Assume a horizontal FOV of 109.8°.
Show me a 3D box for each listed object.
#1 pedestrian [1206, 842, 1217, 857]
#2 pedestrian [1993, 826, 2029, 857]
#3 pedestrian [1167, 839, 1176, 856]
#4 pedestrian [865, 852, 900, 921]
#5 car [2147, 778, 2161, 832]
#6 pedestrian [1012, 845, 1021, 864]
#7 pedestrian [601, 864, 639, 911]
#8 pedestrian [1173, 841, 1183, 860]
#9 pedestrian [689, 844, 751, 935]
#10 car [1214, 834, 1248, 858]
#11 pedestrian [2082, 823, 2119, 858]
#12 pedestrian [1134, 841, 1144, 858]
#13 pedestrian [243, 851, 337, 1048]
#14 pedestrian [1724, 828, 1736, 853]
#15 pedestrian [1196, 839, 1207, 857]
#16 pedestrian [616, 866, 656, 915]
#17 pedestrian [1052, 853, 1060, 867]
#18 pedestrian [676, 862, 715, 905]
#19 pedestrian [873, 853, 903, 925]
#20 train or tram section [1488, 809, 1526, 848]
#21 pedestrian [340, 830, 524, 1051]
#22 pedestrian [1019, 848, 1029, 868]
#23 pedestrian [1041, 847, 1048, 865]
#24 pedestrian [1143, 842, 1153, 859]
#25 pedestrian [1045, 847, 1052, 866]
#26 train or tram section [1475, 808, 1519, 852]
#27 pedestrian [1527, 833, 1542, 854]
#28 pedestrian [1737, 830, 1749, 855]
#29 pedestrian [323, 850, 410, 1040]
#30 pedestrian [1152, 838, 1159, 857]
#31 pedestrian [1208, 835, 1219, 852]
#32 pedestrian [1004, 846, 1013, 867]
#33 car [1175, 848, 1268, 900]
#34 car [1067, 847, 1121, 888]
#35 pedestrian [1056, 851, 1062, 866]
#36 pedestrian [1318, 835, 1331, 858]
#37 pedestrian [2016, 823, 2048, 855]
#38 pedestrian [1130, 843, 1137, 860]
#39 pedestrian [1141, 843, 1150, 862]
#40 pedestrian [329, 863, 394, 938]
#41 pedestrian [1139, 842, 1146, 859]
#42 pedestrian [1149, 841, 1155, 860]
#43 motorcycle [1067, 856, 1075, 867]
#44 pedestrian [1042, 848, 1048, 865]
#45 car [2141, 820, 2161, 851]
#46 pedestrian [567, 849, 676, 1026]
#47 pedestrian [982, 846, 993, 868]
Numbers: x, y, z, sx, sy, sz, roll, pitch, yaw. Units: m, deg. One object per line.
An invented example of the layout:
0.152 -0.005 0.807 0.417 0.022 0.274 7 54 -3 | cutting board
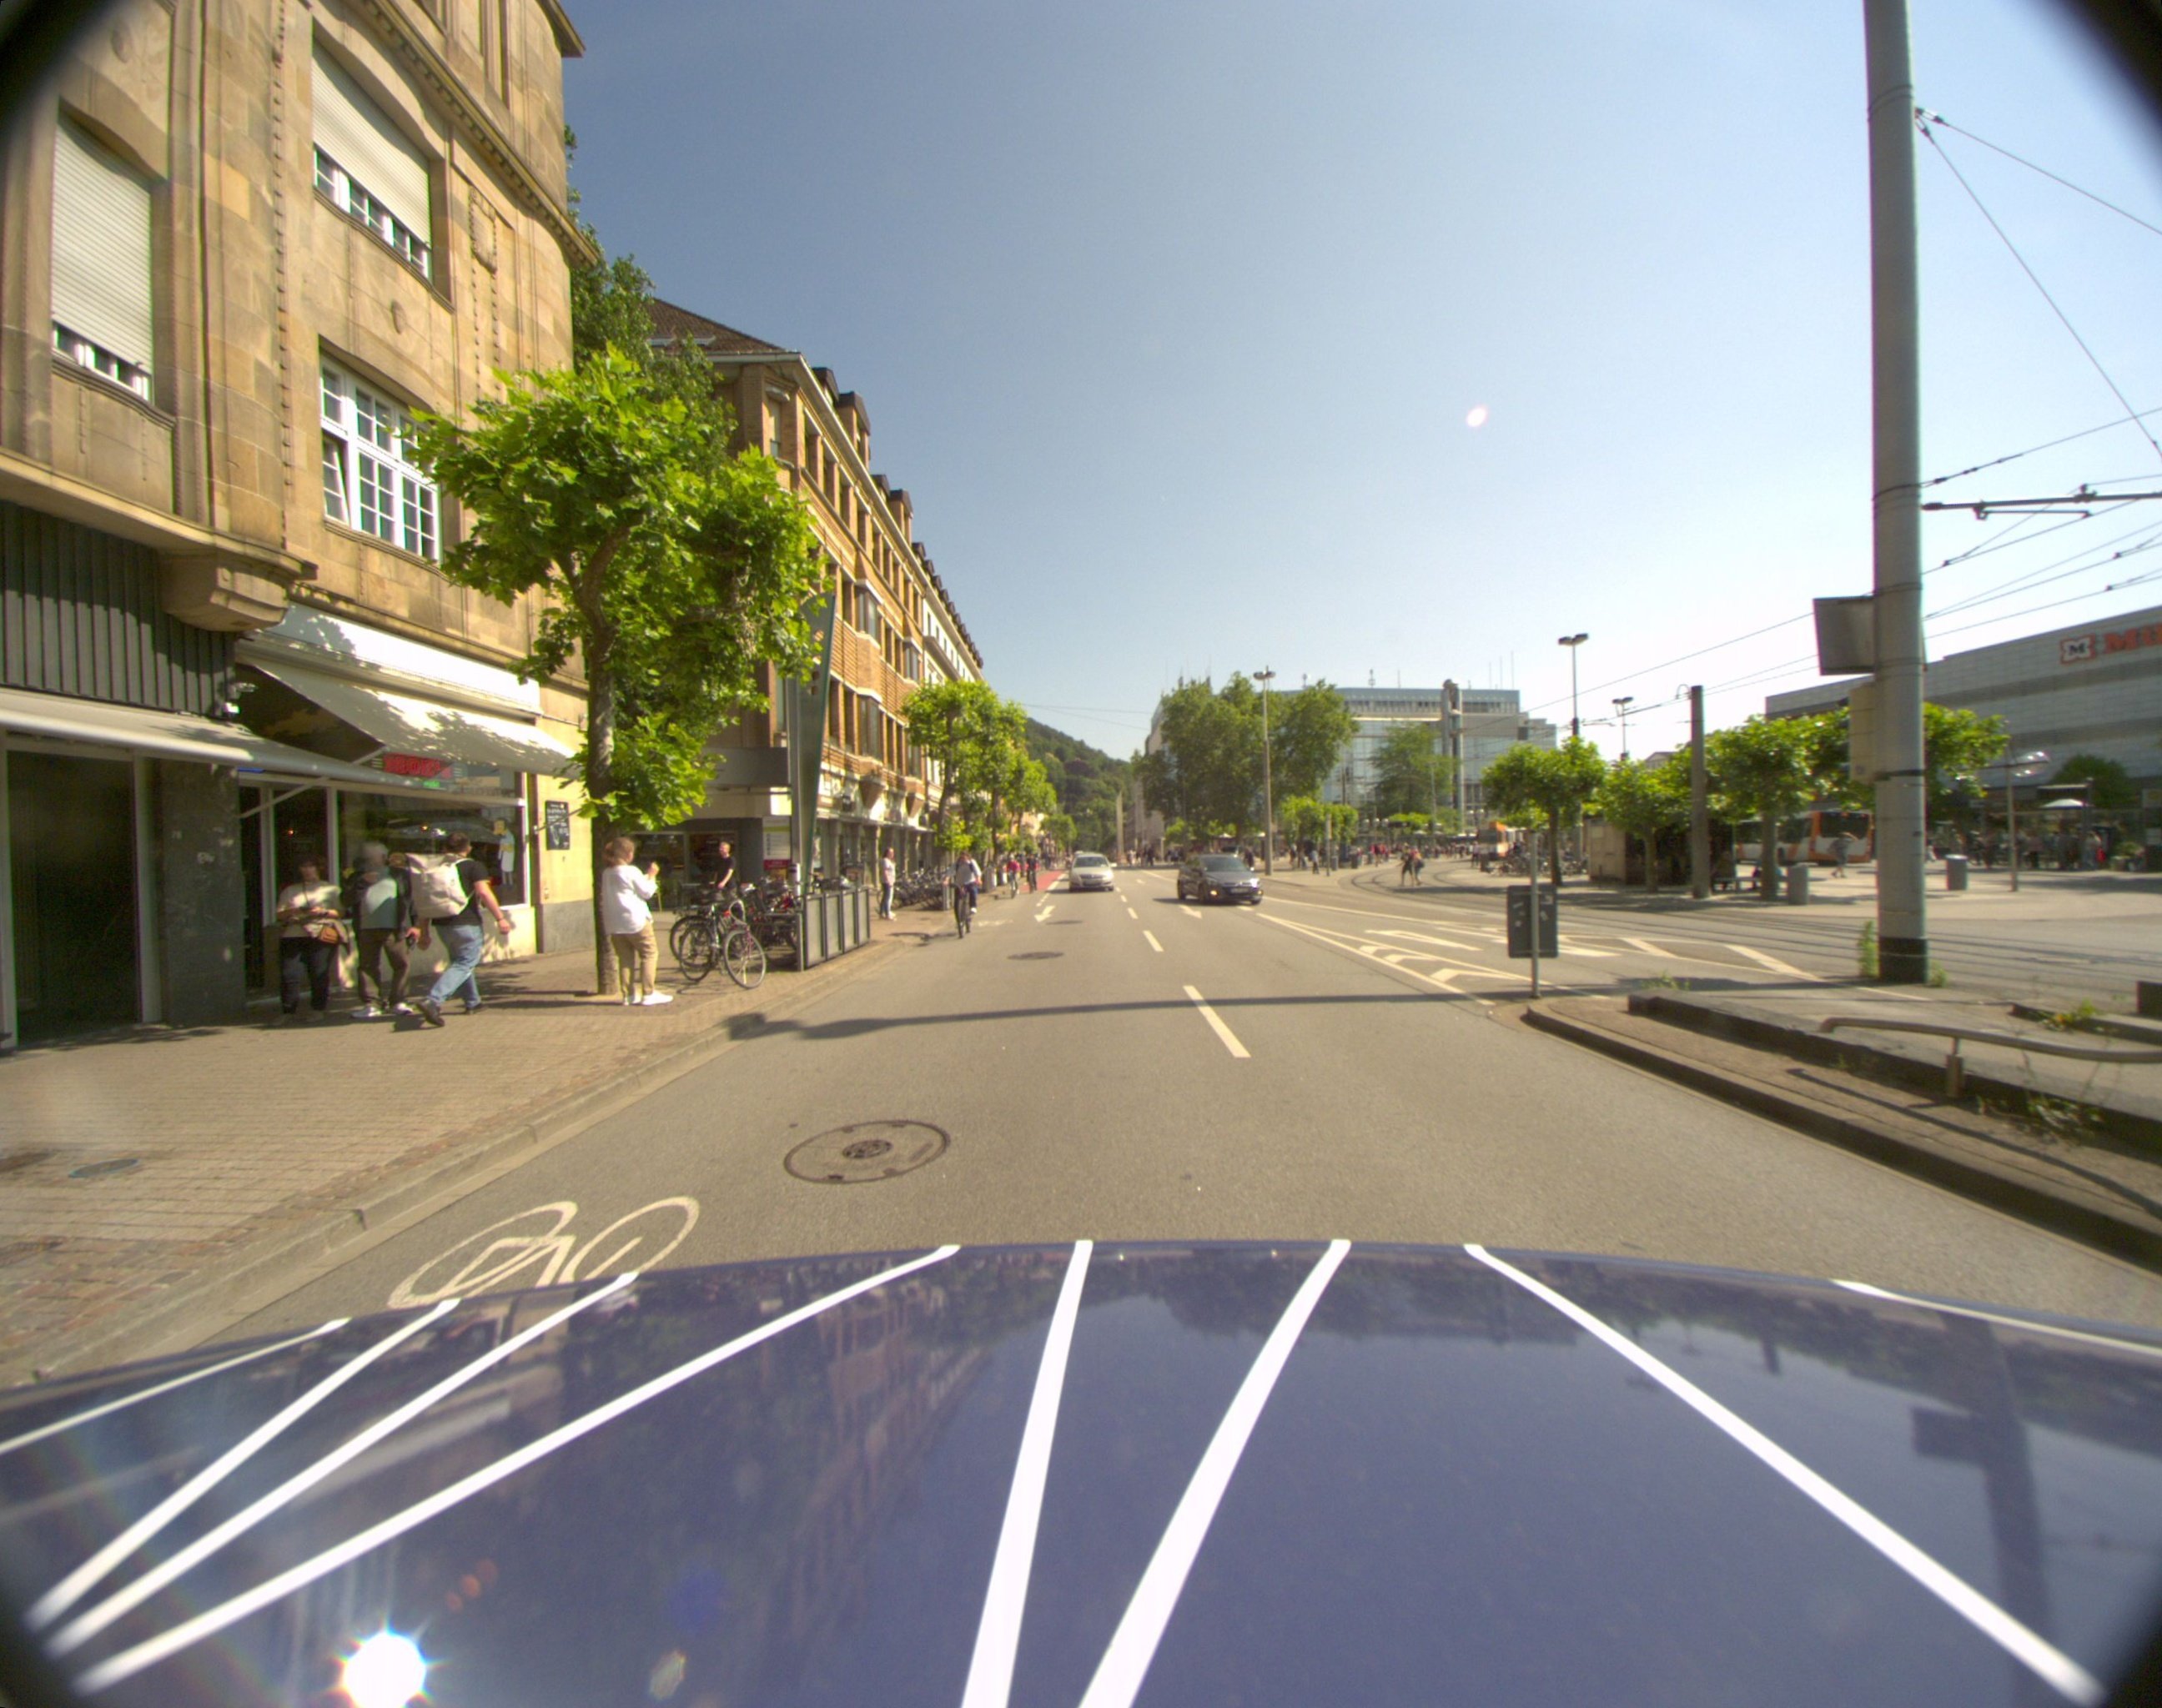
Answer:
12.914 -0.455 75.351 0.752 1.399 0.782 -4 1 -10 | pedestrian
44.619 -0.587 36.464 0.789 1.457 0.742 1 0 -5 | pedestrian
9.422 -0.721 79.433 0.751 1.737 0.666 -3 1 -1 | pedestrian
-4.749 0.762 18.252 0.697 1.617 0.701 0 1 -6 | pedestrian
59.055 -2.686 38.608 1.958 2.871 5.396 -3 1 -5 | car
-6.198 0.078 72.596 0.721 1.772 0.776 -3 1 -2 | pedestrian
-12.815 0.926 21.102 0.791 1.248 0.641 -2 2 43 | pedestrian
8.974 -0.342 70.373 0.643 1.682 0.642 -4 1 -13 | pedestrian
-7.215 0.684 15.225 0.669 1.771 0.985 -1 1 5 | pedestrian
13.566 -0.742 68.381 1.996 2.002 5.073 -3 1 22 | car
43.202 -0.585 32.212 0.625 1.457 0.680 1 0 -5 | pedestrian
6.370 -0.512 83.592 0.876 1.737 0.733 -3 1 -1 | pedestrian
-7.035 0.814 6.765 0.381 1.673 0.477 1 2 34 | pedestrian
38.524 -0.776 45.080 0.453 1.457 0.411 1 1 -35 | pedestrian
12.355 -0.631 77.967 0.750 1.737 0.784 -3 1 27 | pedestrian
-12.018 0.966 20.552 0.640 1.248 0.792 -4 1 -12 | pedestrian
-2.701 0.601 83.082 0.672 1.488 0.637 -3 2 -14 | pedestrian
-11.869 0.890 23.402 0.792 1.248 0.640 -3 1 4 | pedestrian
-4.464 0.796 17.577 0.601 1.617 0.643 1 1 -18 | pedestrian
45.100 -2.734 80.360 2.615 3.805 9.535 -3 1 34 | train or tram section
-5.758 0.714 6.801 0.816 1.838 0.891 0 2 8 | pedestrian
-4.423 0.279 58.849 0.606 1.529 0.666 -3 1 -1 | pedestrian
-3.648 0.192 76.046 0.578 1.675 0.622 -3 1 -3 | pedestrian
6.517 -0.351 73.619 0.630 1.639 0.753 -3 1 26 | pedestrian
-3.137 0.250 73.580 0.578 1.835 0.717 -3 1 -3 | pedestrian
39.769 -2.316 72.475 2.615 3.805 9.535 -3 1 34 | train or tram section
34.367 -0.778 57.578 0.626 1.588 0.679 1 0 -22 | pedestrian
39.109 -0.663 44.860 0.453 1.457 0.411 1 1 -35 | pedestrian
-6.652 0.807 7.089 0.538 1.673 0.498 -2 3 -43 | pedestrian
7.350 -0.605 74.653 0.517 1.825 0.716 -3 1 8 | pedestrian
12.960 -1.017 74.417 0.752 1.587 0.782 -4 1 -10 | pedestrian
-6.474 0.228 68.175 0.635 1.783 0.776 -3 1 -2 | pedestrian
4.160 0.532 23.094 1.700 1.397 3.997 -1 1 -6 | car
0.522 0.473 29.685 1.918 1.401 4.000 -3 1 1 | car
-2.728 0.526 93.203 0.651 1.770 0.621 0 2 -12 | pedestrian
19.269 -0.570 60.151 0.626 1.784 0.678 1 1 -42 | pedestrian
44.396 -0.698 35.473 0.625 1.457 0.680 1 0 -5 | pedestrian
6.186 -0.318 89.302 0.639 1.903 0.733 -3 1 -1 | pedestrian
6.406 -0.140 75.509 0.537 1.773 0.745 -2 2 35 | pedestrian
-10.355 0.661 10.944 0.455 1.017 0.405 -3 1 1 | pedestrian
6.368 -0.398 79.107 0.612 1.737 0.752 -2 1 -1 | pedestrian
7.167 -0.342 76.670 0.595 1.835 0.738 -1 1 -1 | pedestrian
-1.062 0.807 80.663 0.736 1.086 1.897 -3 1 1 | motorcycle
-3.652 0.261 77.245 0.578 1.775 0.699 0 1 -3 | pedestrian
53.516 -0.922 35.695 1.760 1.499 3.997 -3 1 -5 | car
-4.597 0.805 7.650 0.658 1.673 0.653 -2 2 -7 | pedestrian
-7.246 0.241 59.028 0.658 1.686 0.676 -3 1 2 | pedestrian
